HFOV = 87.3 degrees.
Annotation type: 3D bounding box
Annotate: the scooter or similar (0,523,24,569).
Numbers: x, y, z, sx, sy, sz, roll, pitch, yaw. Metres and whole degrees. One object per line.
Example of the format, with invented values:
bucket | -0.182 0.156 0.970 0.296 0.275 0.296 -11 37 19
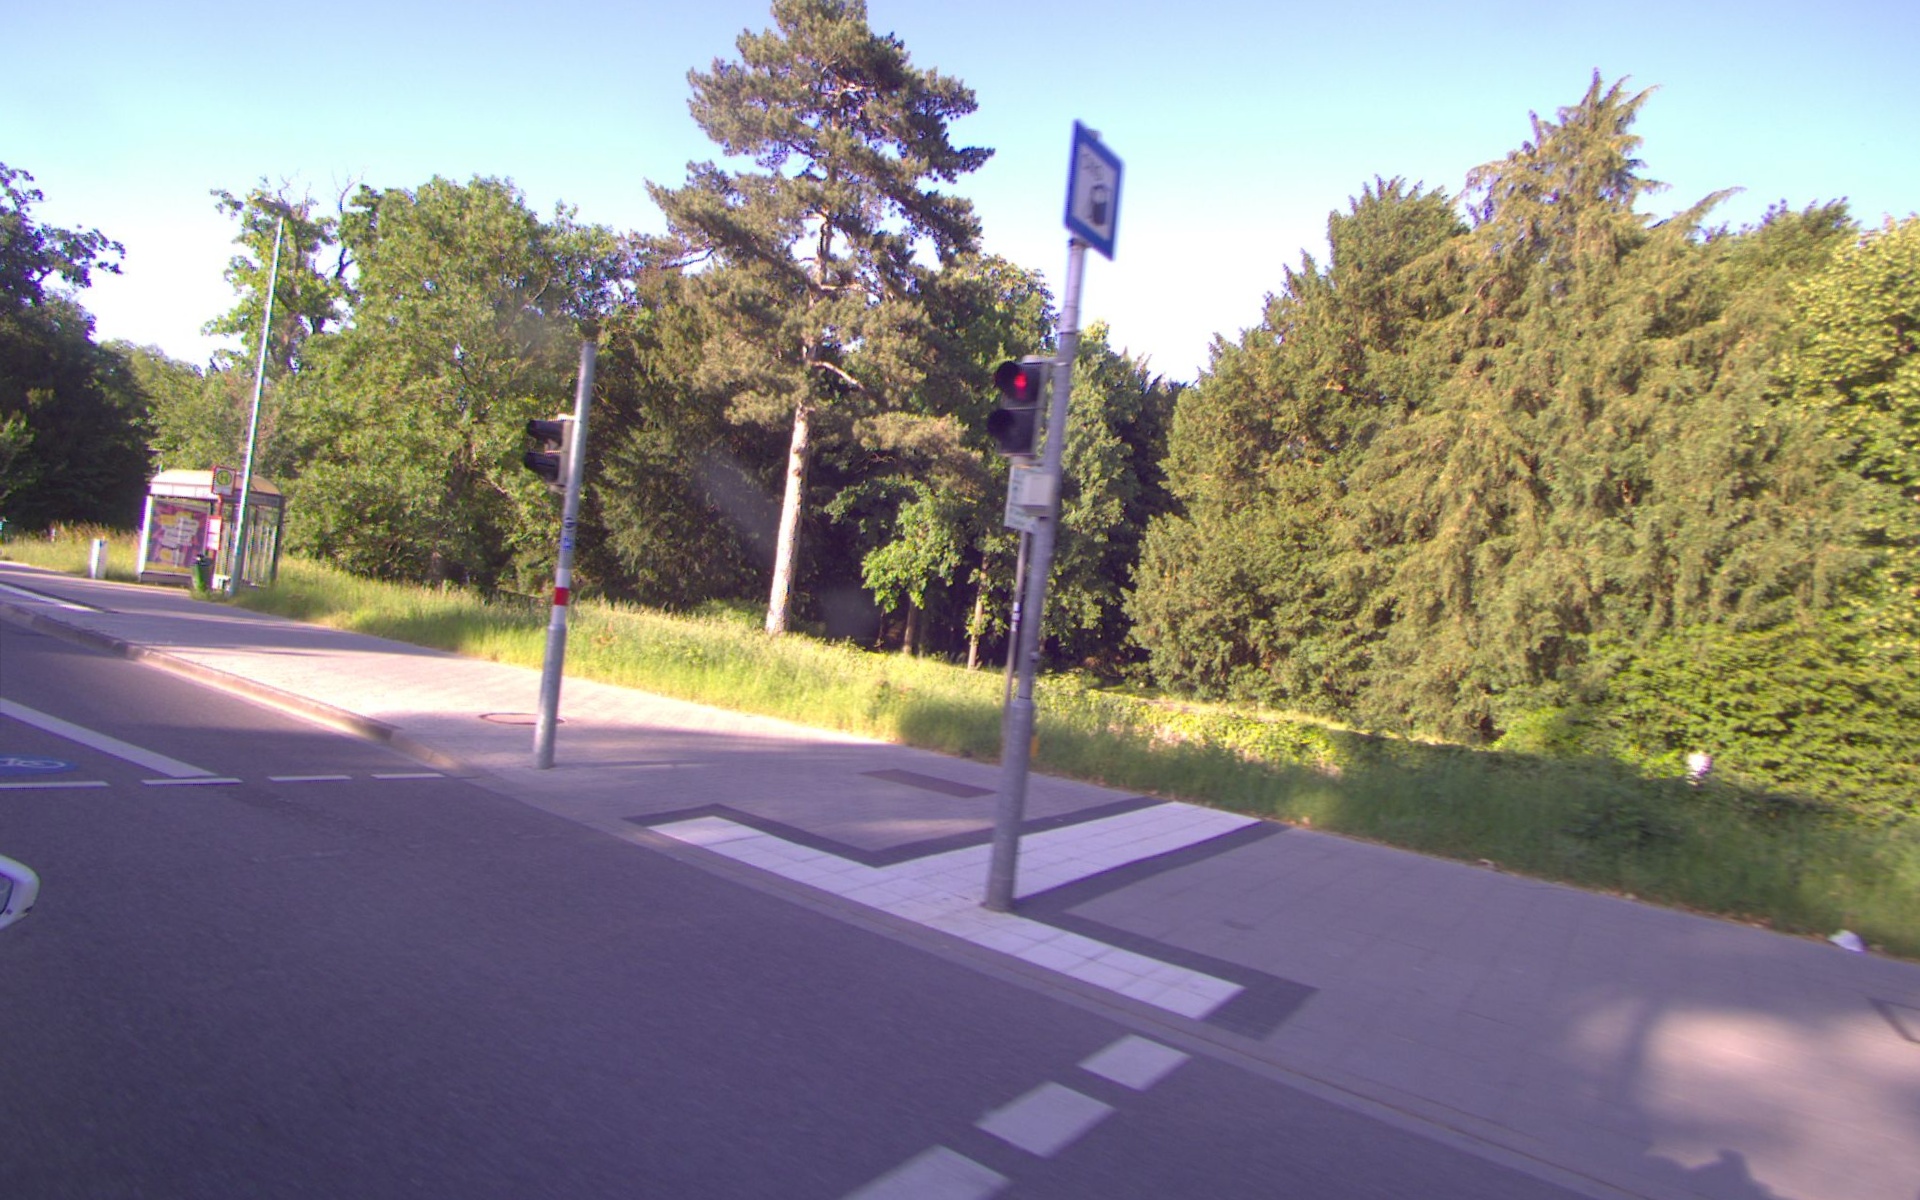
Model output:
scooter or similar | -27.631 -1.584 28.945 0.717 1.262 1.316 7 -1 -35
